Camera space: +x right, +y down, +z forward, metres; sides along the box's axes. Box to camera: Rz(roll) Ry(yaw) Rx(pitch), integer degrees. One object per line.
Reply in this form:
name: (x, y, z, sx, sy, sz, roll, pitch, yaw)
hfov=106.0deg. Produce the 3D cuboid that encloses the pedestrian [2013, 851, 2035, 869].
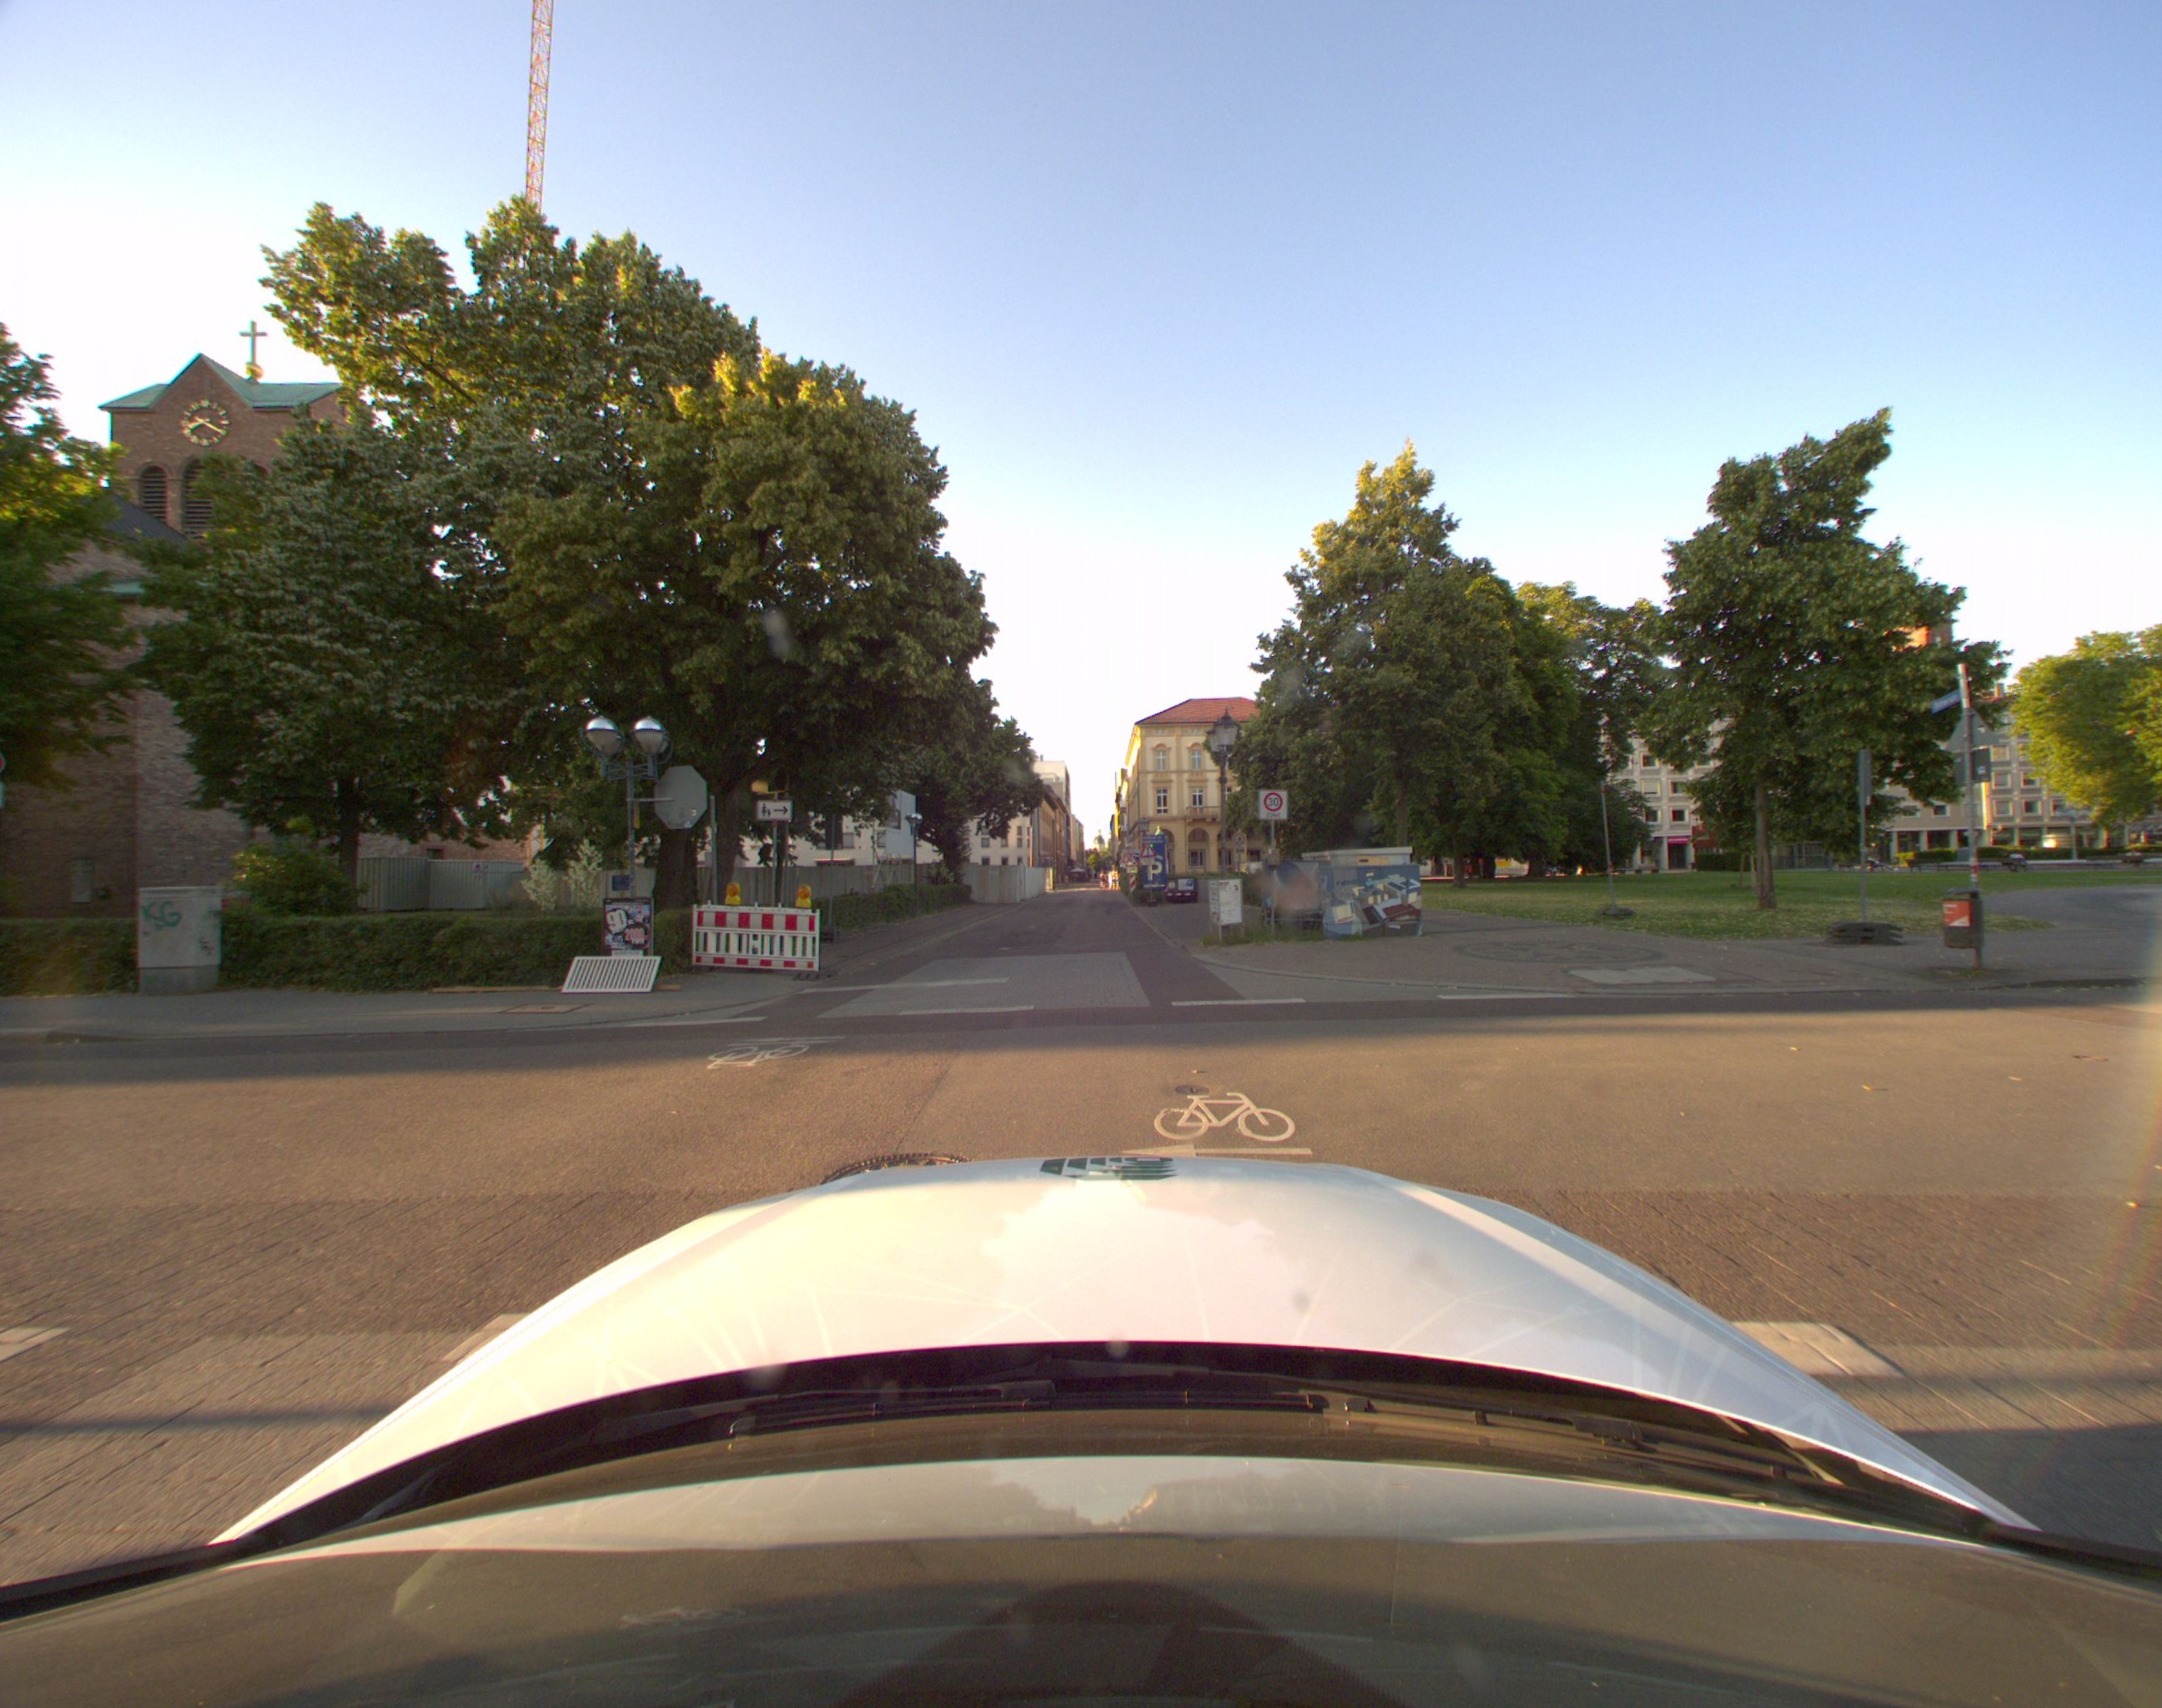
pedestrian: (50.366, 0.331, 43.502, 0.512, 0.925, 0.616, -1, -2, -24)

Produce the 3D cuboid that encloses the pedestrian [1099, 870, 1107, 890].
pedestrian: (1.984, 2.315, 73.403, 0.655, 1.760, 0.745, -2, -2, 1)

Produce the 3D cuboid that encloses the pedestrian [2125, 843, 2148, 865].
pedestrian: (52.034, -0.007, 40.151, 0.514, 1.077, 0.614, -1, -2, -39)

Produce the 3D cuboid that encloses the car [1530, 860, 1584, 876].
car: (42.075, 1.235, 72.012, 3.568, 1.240, 1.996, -2, -1, -6)

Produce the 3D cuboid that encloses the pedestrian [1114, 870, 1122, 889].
pedestrian: (3.291, 2.244, 72.187, 0.655, 1.617, 0.745, -2, -2, 1)

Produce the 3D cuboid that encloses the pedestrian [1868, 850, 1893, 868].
pedestrian: (50.082, 0.330, 51.027, 0.889, 1.077, 0.624, -3, -2, 18)

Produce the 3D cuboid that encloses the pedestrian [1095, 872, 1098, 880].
pedestrian: (3.406, 4.895, 179.175, 0.756, 1.834, 0.745, -2, -2, 1)

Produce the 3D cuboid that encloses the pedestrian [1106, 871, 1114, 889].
pedestrian: (2.605, 2.314, 72.232, 0.655, 1.617, 0.745, -2, -2, 1)

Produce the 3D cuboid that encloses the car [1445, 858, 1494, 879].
car: (39.862, 1.461, 83.691, 4.016, 2.014, 2.001, -2, -2, 2)

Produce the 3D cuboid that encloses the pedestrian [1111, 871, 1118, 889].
pedestrian: (3.012, 2.318, 73.258, 0.655, 1.636, 0.745, -2, -2, 1)
